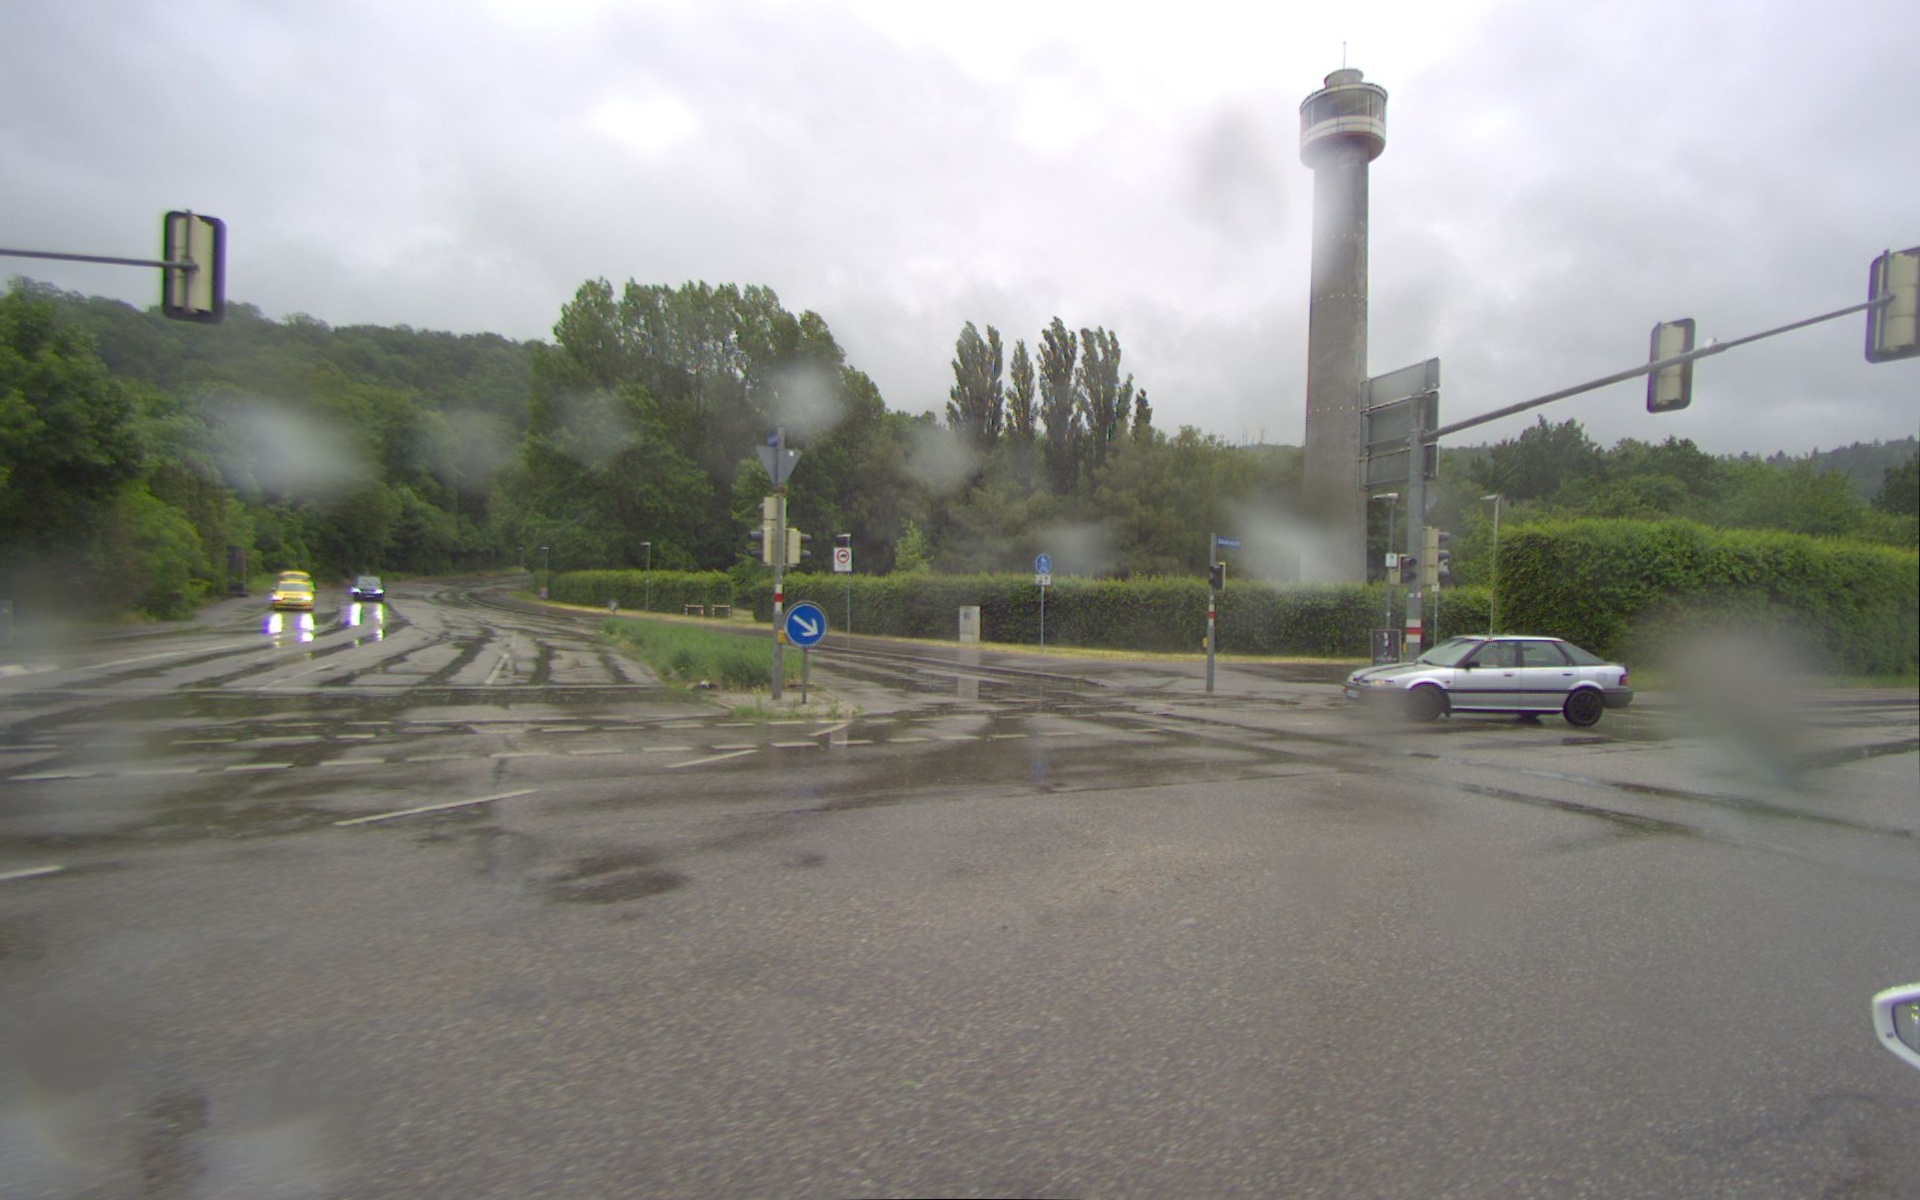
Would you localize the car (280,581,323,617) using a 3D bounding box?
[{"bbox_3d":[-38.714,-0.060,59.111,1.792,2.040,3.654,1,0,-29],"label":"car"}]

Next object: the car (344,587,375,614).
[{"bbox_3d":[-44.044,0.034,73.707,1.810,1.840,3.969,1,0,-29],"label":"car"}]

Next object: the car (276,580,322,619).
[{"bbox_3d":[-36.511,-0.025,55.536,1.792,2.053,3.655,1,0,-29],"label":"car"}]

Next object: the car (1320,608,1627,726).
[{"bbox_3d":[8.301,1.039,16.524,3.986,1.731,2.043,1,0,-1],"label":"car"}]
